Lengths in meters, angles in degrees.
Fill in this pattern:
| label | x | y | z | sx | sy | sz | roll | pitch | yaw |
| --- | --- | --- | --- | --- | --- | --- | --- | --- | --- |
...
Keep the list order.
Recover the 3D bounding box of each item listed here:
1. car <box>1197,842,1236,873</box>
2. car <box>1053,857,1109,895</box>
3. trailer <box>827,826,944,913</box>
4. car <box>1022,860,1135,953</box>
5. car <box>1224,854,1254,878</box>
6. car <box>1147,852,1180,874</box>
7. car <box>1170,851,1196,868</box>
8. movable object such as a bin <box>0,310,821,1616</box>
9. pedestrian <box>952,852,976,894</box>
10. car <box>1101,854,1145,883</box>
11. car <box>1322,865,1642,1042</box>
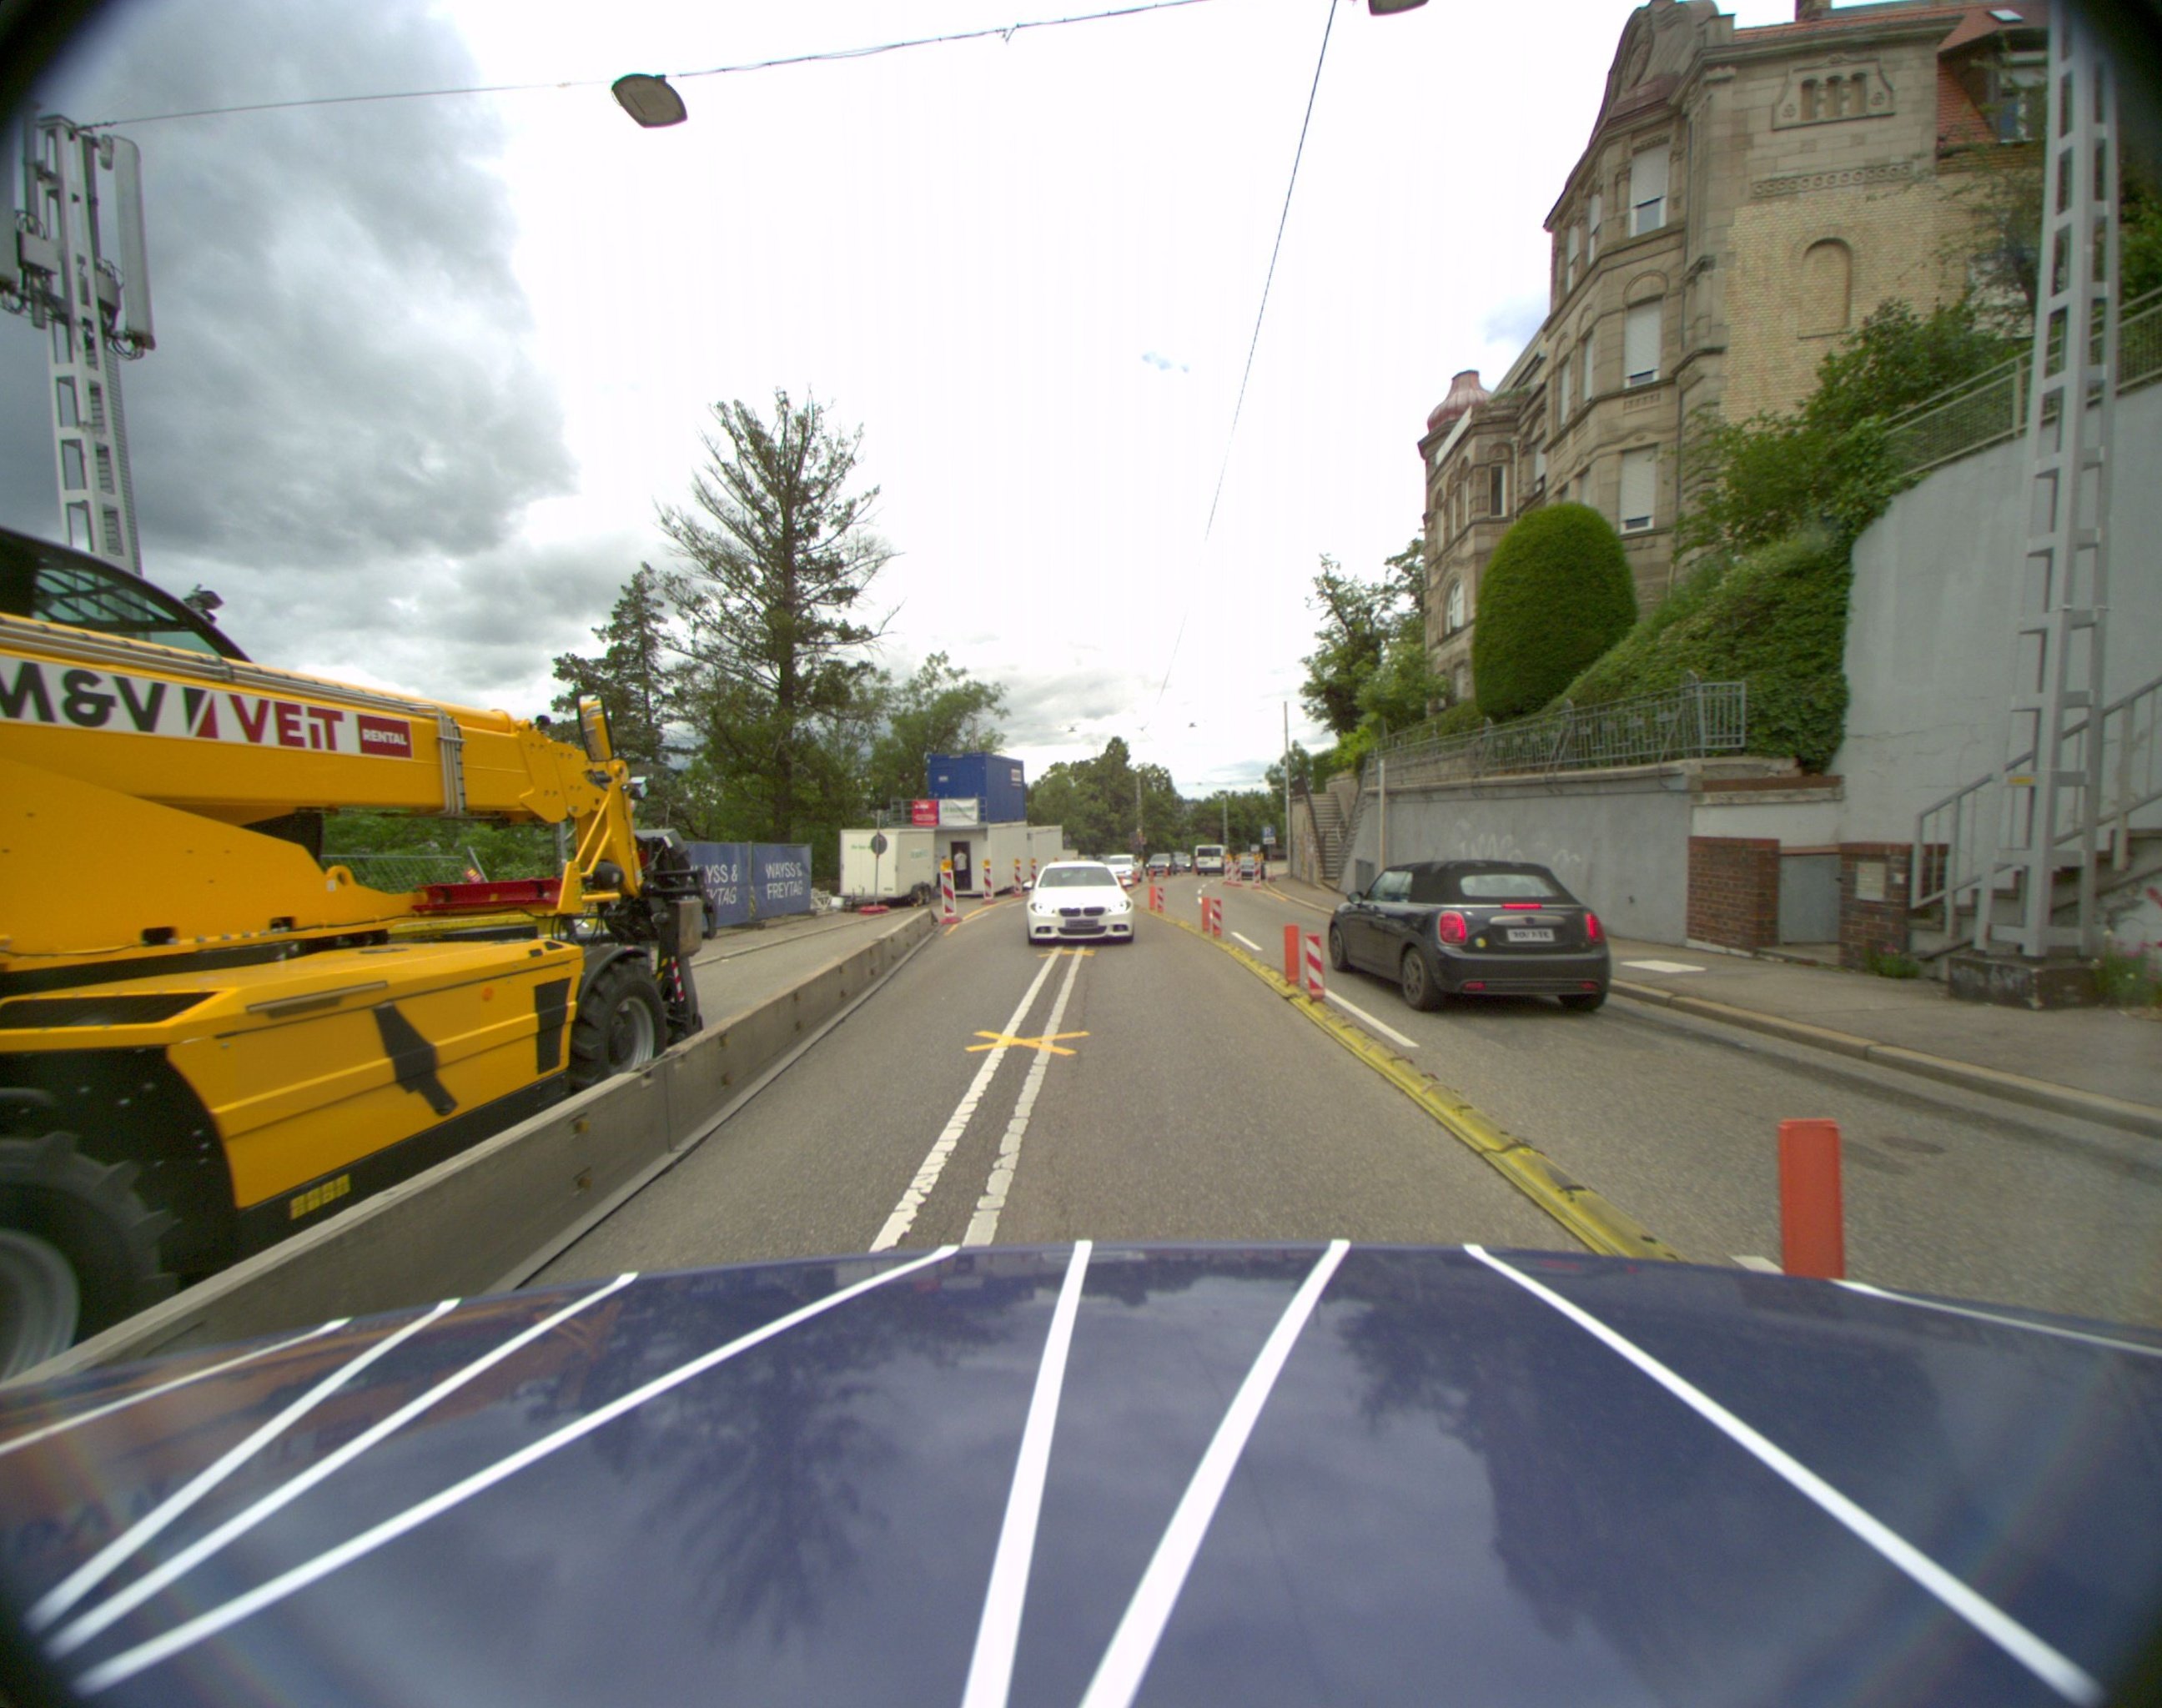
| label | x | y | z | sx | sy | sz | roll | pitch | yaw |
| --- | --- | --- | --- | --- | --- | --- | --- | --- | --- |
| car | 10.097 | 0.267 | 56.377 | 2.069 | 2.175 | 4.970 | 1 | 0 | 19 |
| car | 0.076 | 0.888 | 32.356 | 1.791 | 1.472 | 4.247 | -1 | 0 | 8 |
| trailer | -6.212 | 0.439 | 24.871 | 2.111 | 2.535 | 5.120 | 0 | 1 | 5 |
| car | 0.101 | 0.888 | 14.666 | 1.791 | 1.472 | 4.246 | -1 | 0 | 5 |
| car | 10.046 | 0.722 | 48.303 | 1.802 | 1.365 | 4.392 | 1 | 1 | 12 |
| car | 6.212 | 0.664 | 56.965 | 1.796 | 1.502 | 4.004 | 1 | 1 | 16 |
| car | 9.251 | 0.474 | 68.783 | 1.796 | 1.502 | 4.004 | 1 | 1 | 16 |
| movable object such as a bin | -4.038 | 0.275 | 3.984 | 2.819 | 3.053 | 7.821 | -2 | 0 | -2 |
| pedestrian | -4.676 | 0.758 | 30.438 | 0.651 | 1.651 | 0.648 | -3 | 1 | -32 |
| car | 2.371 | 0.763 | 42.112 | 1.790 | 1.542 | 4.249 | -1 | 0 | 12 |
| car | 3.967 | 0.867 | 8.249 | 1.675 | 1.422 | 3.587 | 0 | 1 | 2 |
